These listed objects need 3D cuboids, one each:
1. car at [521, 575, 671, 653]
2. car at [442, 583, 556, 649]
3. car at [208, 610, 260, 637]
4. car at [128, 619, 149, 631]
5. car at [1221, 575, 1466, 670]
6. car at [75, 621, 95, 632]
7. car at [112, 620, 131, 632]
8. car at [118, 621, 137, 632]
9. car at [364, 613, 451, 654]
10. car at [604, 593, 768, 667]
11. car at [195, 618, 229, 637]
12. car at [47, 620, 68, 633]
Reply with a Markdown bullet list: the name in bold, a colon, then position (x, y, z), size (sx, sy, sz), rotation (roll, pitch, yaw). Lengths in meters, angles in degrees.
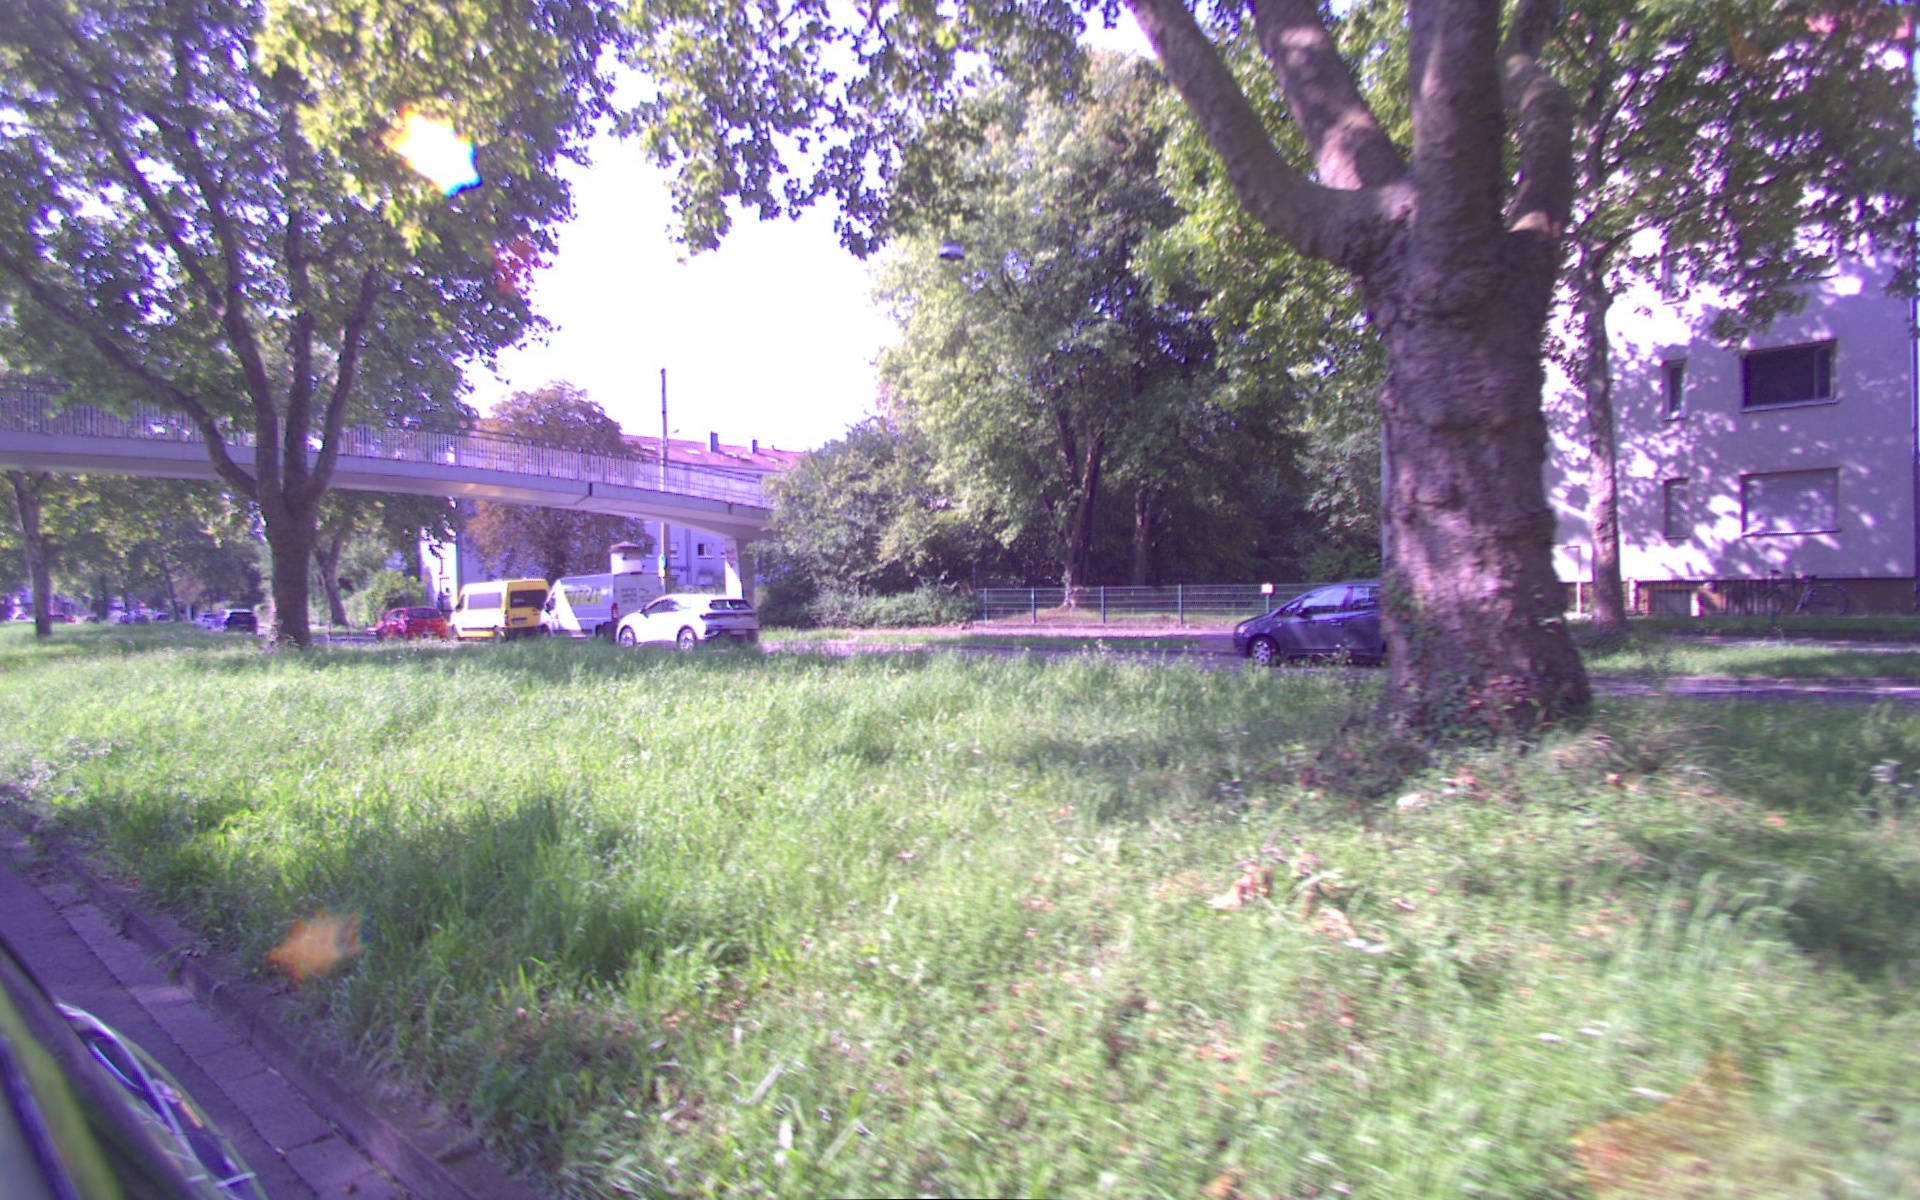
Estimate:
- **car**: position (-12.994, 0.491, 35.848), size (6.263, 2.448, 2.185), rotation (-1, 3, 42)
- **car**: position (-18.959, 0.626, 41.481), size (6.063, 2.498, 2.183), rotation (-1, 1, 44)
- **car**: position (-44.595, 1.435, 62.107), size (4.456, 1.544, 1.768), rotation (-1, 1, 44)
- **car**: position (-96.340, 2.919, 118.673), size (1.590, 1.301, 3.526), rotation (-2, 1, -43)
- **car**: position (6.853, 0.369, 18.295), size (3.860, 1.544, 1.507), rotation (-1, 0, 40)
- **car**: position (-116.115, 3.492, 134.316), size (3.899, 1.374, 1.627), rotation (-2, 0, 43)
- **car**: position (-107.951, 3.321, 130.267), size (1.590, 1.417, 3.526), rotation (-1, 0, -43)
- **car**: position (-104.278, 3.300, 126.827), size (1.590, 1.301, 3.526), rotation (-2, 1, -43)
- **car**: position (-21.986, 1.312, 40.221), size (4.066, 1.544, 1.674), rotation (-1, 0, 40)
- **car**: position (-7.169, 0.758, 26.231), size (4.717, 1.733, 1.783), rotation (-2, -1, 41)
- **car**: position (-61.902, 2.262, 83.694), size (3.900, 1.490, 1.627), rotation (-1, 1, 44)
- **car**: position (-118.726, 3.430, 133.158), size (4.858, 1.628, 1.755), rotation (-1, 1, 44)
